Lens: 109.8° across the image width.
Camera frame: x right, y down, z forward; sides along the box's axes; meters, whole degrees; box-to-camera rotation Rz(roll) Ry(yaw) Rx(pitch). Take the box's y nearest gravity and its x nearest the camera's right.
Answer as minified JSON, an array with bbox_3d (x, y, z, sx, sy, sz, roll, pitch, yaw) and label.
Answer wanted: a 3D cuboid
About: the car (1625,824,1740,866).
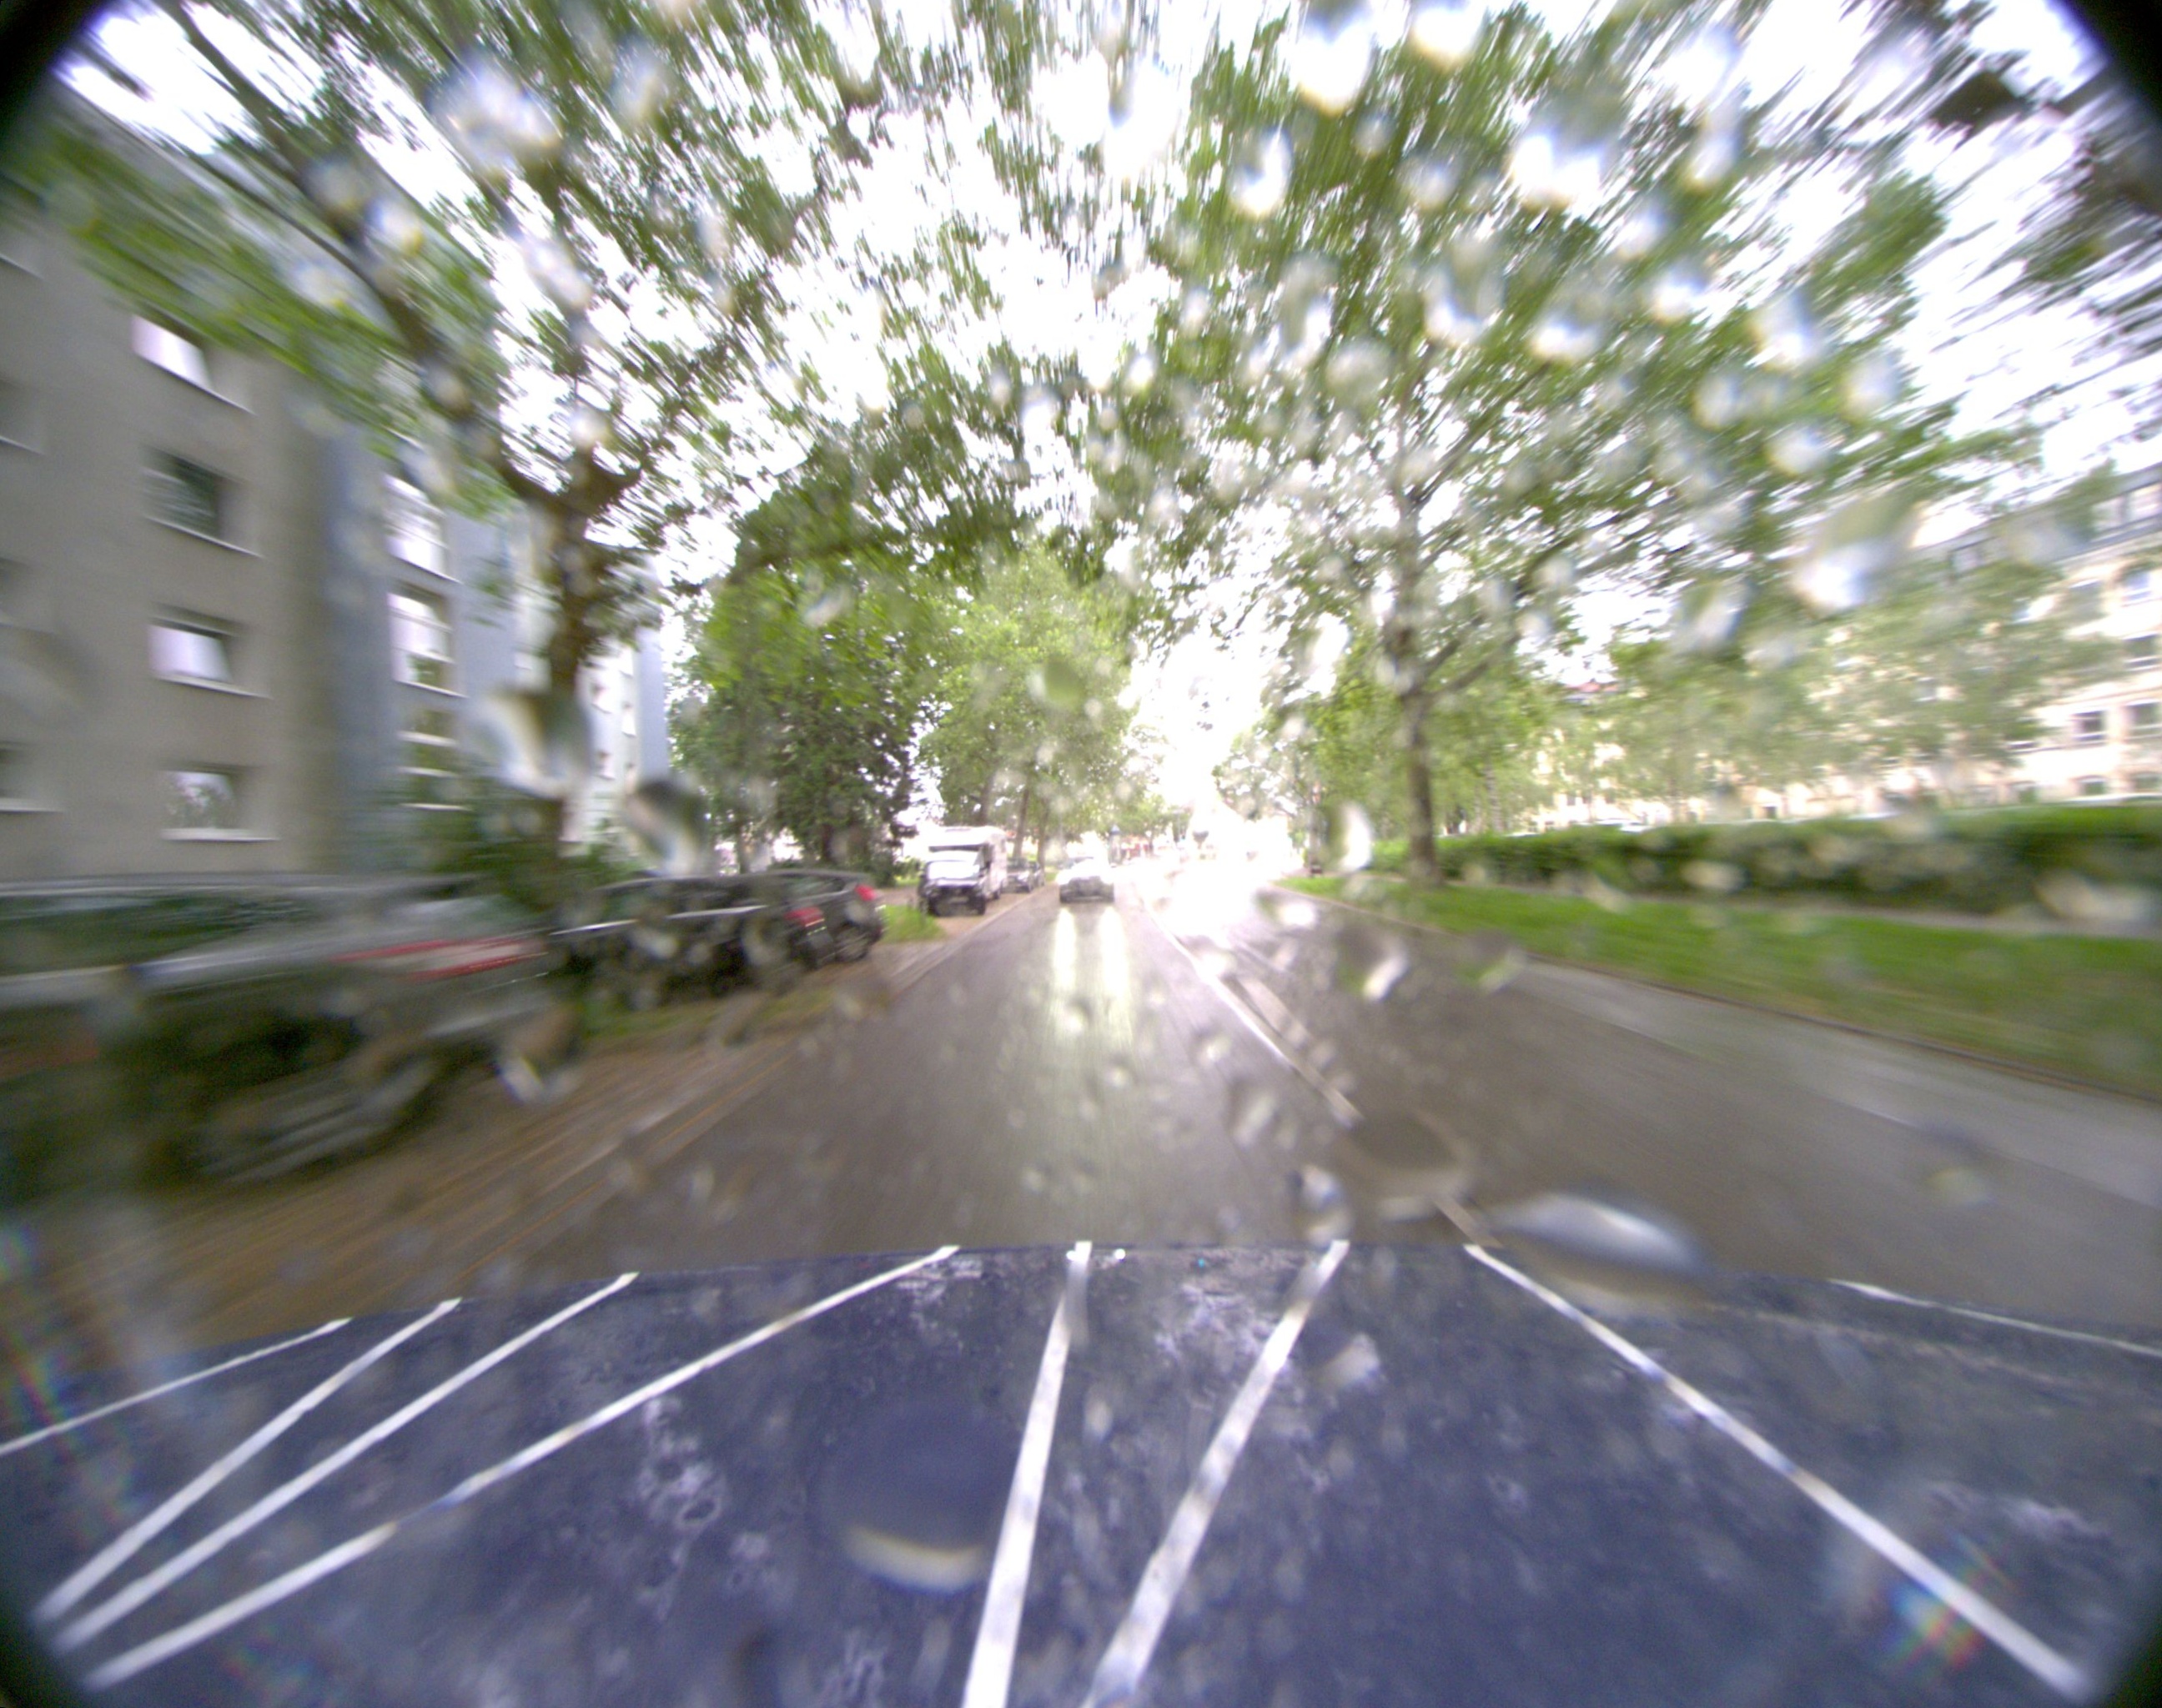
[{"bbox_3d":[26.928,-0.386,34.094,3.816,1.589,1.718,-3,0,-2],"label":"car"}]

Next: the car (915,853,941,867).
[{"bbox_3d":[-24.300,0.955,120.779,3.990,1.849,2.004,-4,0,45],"label":"car"}]

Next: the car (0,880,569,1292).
[{"bbox_3d":[-5.227,1.056,3.888,4.005,1.592,2.031,-3,0,-26],"label":"car"}]

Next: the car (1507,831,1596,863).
[{"bbox_3d":[27.785,-0.423,44.989,3.998,1.629,2.000,-3,0,-3],"label":"car"}]

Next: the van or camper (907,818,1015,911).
[{"bbox_3d":[-4.046,0.316,27.134,2.324,2.791,6.865,-3,0,3],"label":"van or camper"}]

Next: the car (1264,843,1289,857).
[{"bbox_3d":[34.043,-0.740,132.055,2.190,2.242,4.894,-3,0,41],"label":"car"}]

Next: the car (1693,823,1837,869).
[{"bbox_3d":[27.347,-0.309,30.475,3.997,1.589,1.855,-3,0,1],"label":"car"}]

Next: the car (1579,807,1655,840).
[{"bbox_3d":[58.458,-3.323,82.995,6.212,3.175,2.838,-3,0,-1],"label":"car"}]

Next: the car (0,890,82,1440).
[{"bbox_3d":[-4.793,0.939,0.945,3.873,1.687,1.834,0,-2,-27],"label":"car"}]

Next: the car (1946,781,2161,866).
[{"bbox_3d":[26.835,-0.790,20.766,3.996,2.120,2.000,-2,0,2],"label":"car"}]

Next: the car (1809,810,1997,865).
[{"bbox_3d":[27.095,-0.528,25.154,3.996,1.541,1.886,-3,0,3],"label":"car"}]

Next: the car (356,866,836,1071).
[{"bbox_3d":[-5.014,1.054,8.440,4.005,1.592,1.799,-3,0,-29],"label":"car"}]

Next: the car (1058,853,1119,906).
[{"bbox_3d":[0.314,0.822,26.798,1.961,1.701,4.175,1,0,2],"label":"car"}]

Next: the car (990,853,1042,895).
[{"bbox_3d":[-2.872,0.852,34.499,1.920,1.611,4.452,-3,1,0],"label":"car"}]

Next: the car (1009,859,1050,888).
[{"bbox_3d":[-2.671,0.987,40.154,1.552,1.382,4.150,-3,0,3],"label":"car"}]

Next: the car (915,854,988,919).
[{"bbox_3d":[-3.779,0.903,21.851,1.693,1.643,2.943,-3,0,-15],"label":"car"}]

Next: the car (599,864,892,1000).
[{"bbox_3d":[-5.057,1.067,11.666,3.774,1.592,1.799,-3,0,-29],"label":"car"}]

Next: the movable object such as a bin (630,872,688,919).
[{"bbox_3d":[-13.781,1.323,24.877,1.217,1.424,1.860,-3,0,-17],"label":"movable object such as a bin"}]

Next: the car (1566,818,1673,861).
[{"bbox_3d":[26.599,-0.697,37.613,3.998,1.822,1.854,-3,0,-3],"label":"car"}]

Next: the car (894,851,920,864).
[{"bbox_3d":[-26.978,0.587,117.974,3.990,1.849,2.004,-4,0,45],"label":"car"}]
